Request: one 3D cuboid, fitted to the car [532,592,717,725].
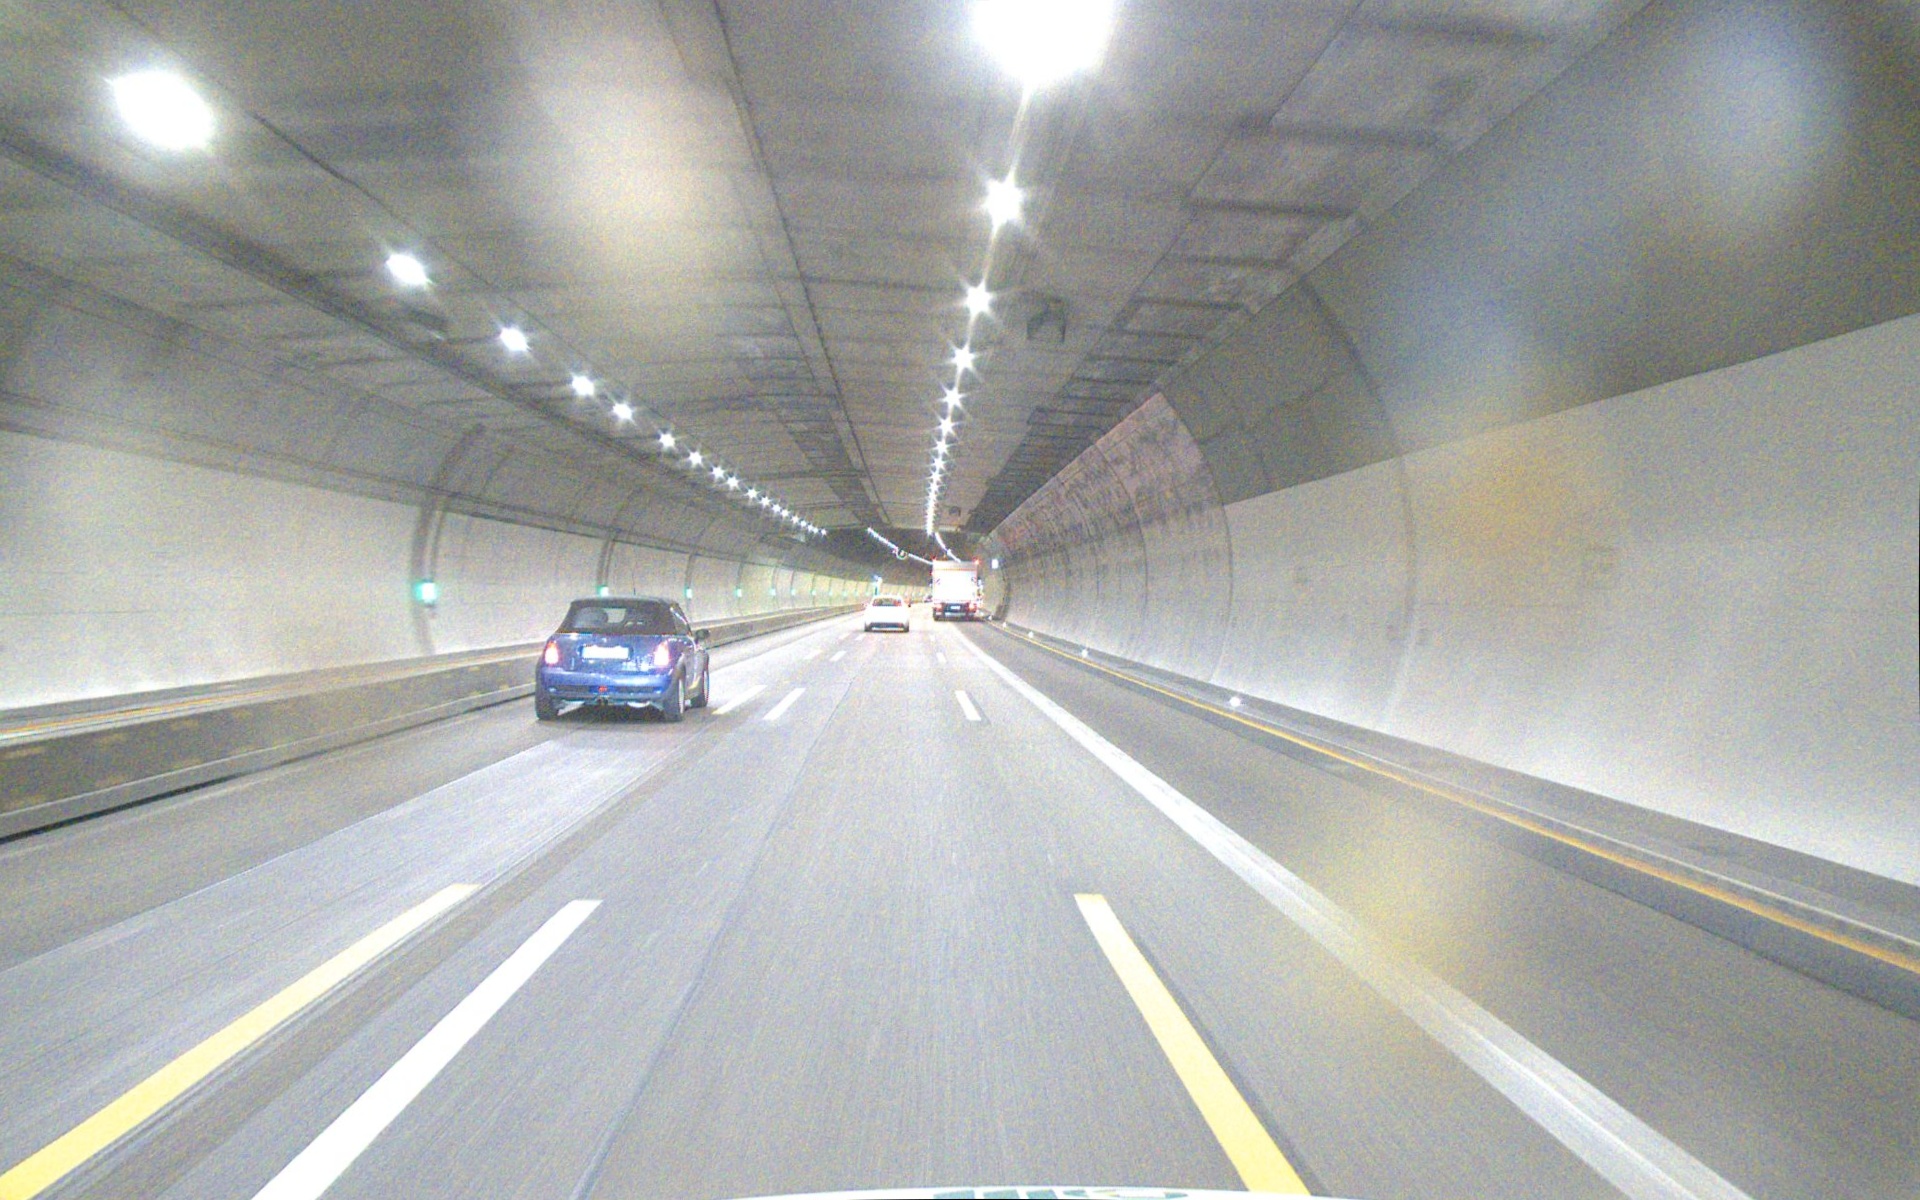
[{"bbox_3d":[-3.987,0.640,20.191,1.655,1.442,3.920,1,0,-3],"label":"car"}]

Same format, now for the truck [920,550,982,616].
[{"bbox_3d":[-0.519,-1.008,99.156,3.519,3.714,10.721,1,0,0],"label":"truck"}]

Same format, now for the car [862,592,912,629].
[{"bbox_3d":[-3.025,0.412,67.796,1.954,1.437,4.739,1,0,-4],"label":"car"}]
